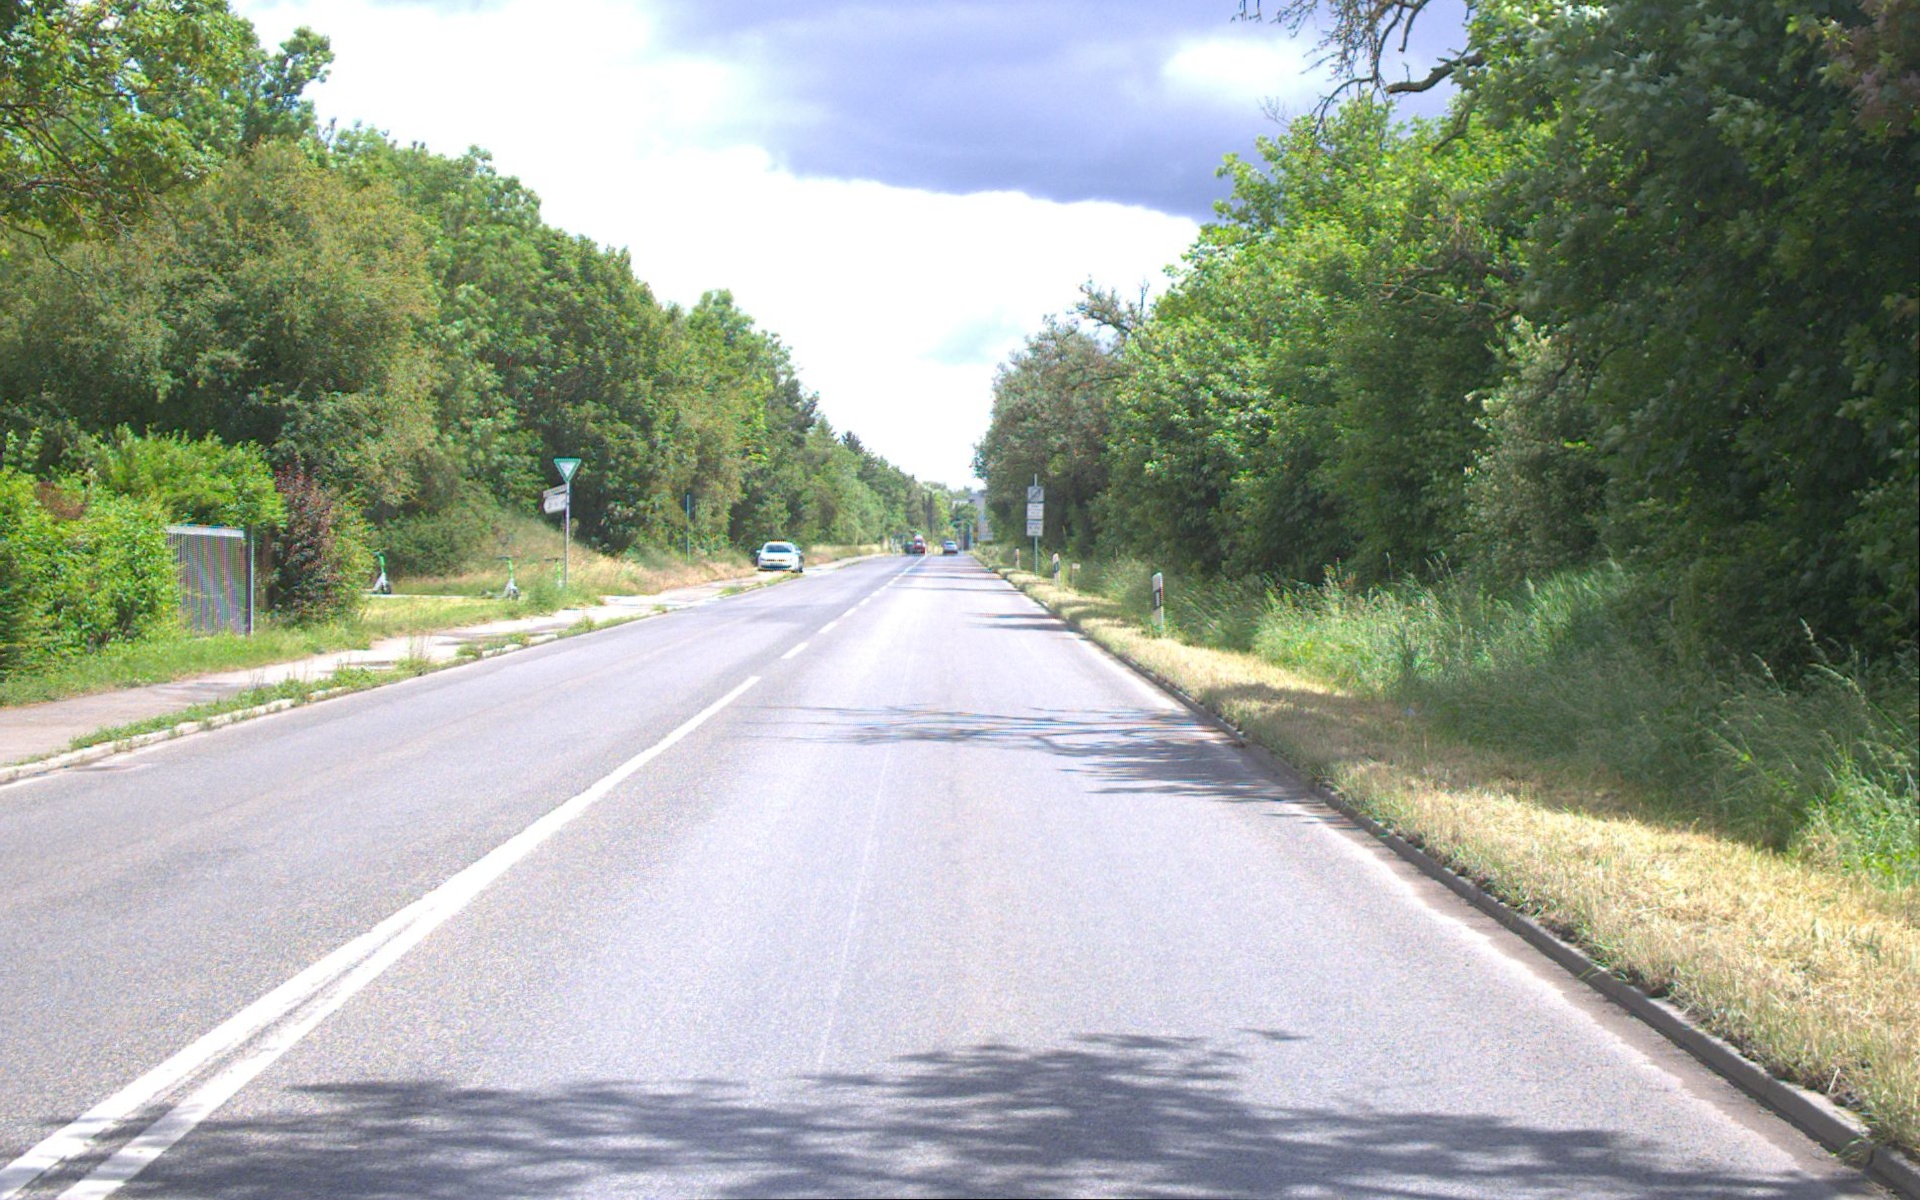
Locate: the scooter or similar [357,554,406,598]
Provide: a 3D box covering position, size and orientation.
[{"bbox_3d":[-15.580,-0.651,92.628,1.244,1.165,0.407,1,1,13],"label":"scooter or similar"}]

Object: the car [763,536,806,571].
[{"bbox_3d":[-8.182,-2.144,160.128,1.798,1.538,3.955,0,0,0],"label":"car"}]
